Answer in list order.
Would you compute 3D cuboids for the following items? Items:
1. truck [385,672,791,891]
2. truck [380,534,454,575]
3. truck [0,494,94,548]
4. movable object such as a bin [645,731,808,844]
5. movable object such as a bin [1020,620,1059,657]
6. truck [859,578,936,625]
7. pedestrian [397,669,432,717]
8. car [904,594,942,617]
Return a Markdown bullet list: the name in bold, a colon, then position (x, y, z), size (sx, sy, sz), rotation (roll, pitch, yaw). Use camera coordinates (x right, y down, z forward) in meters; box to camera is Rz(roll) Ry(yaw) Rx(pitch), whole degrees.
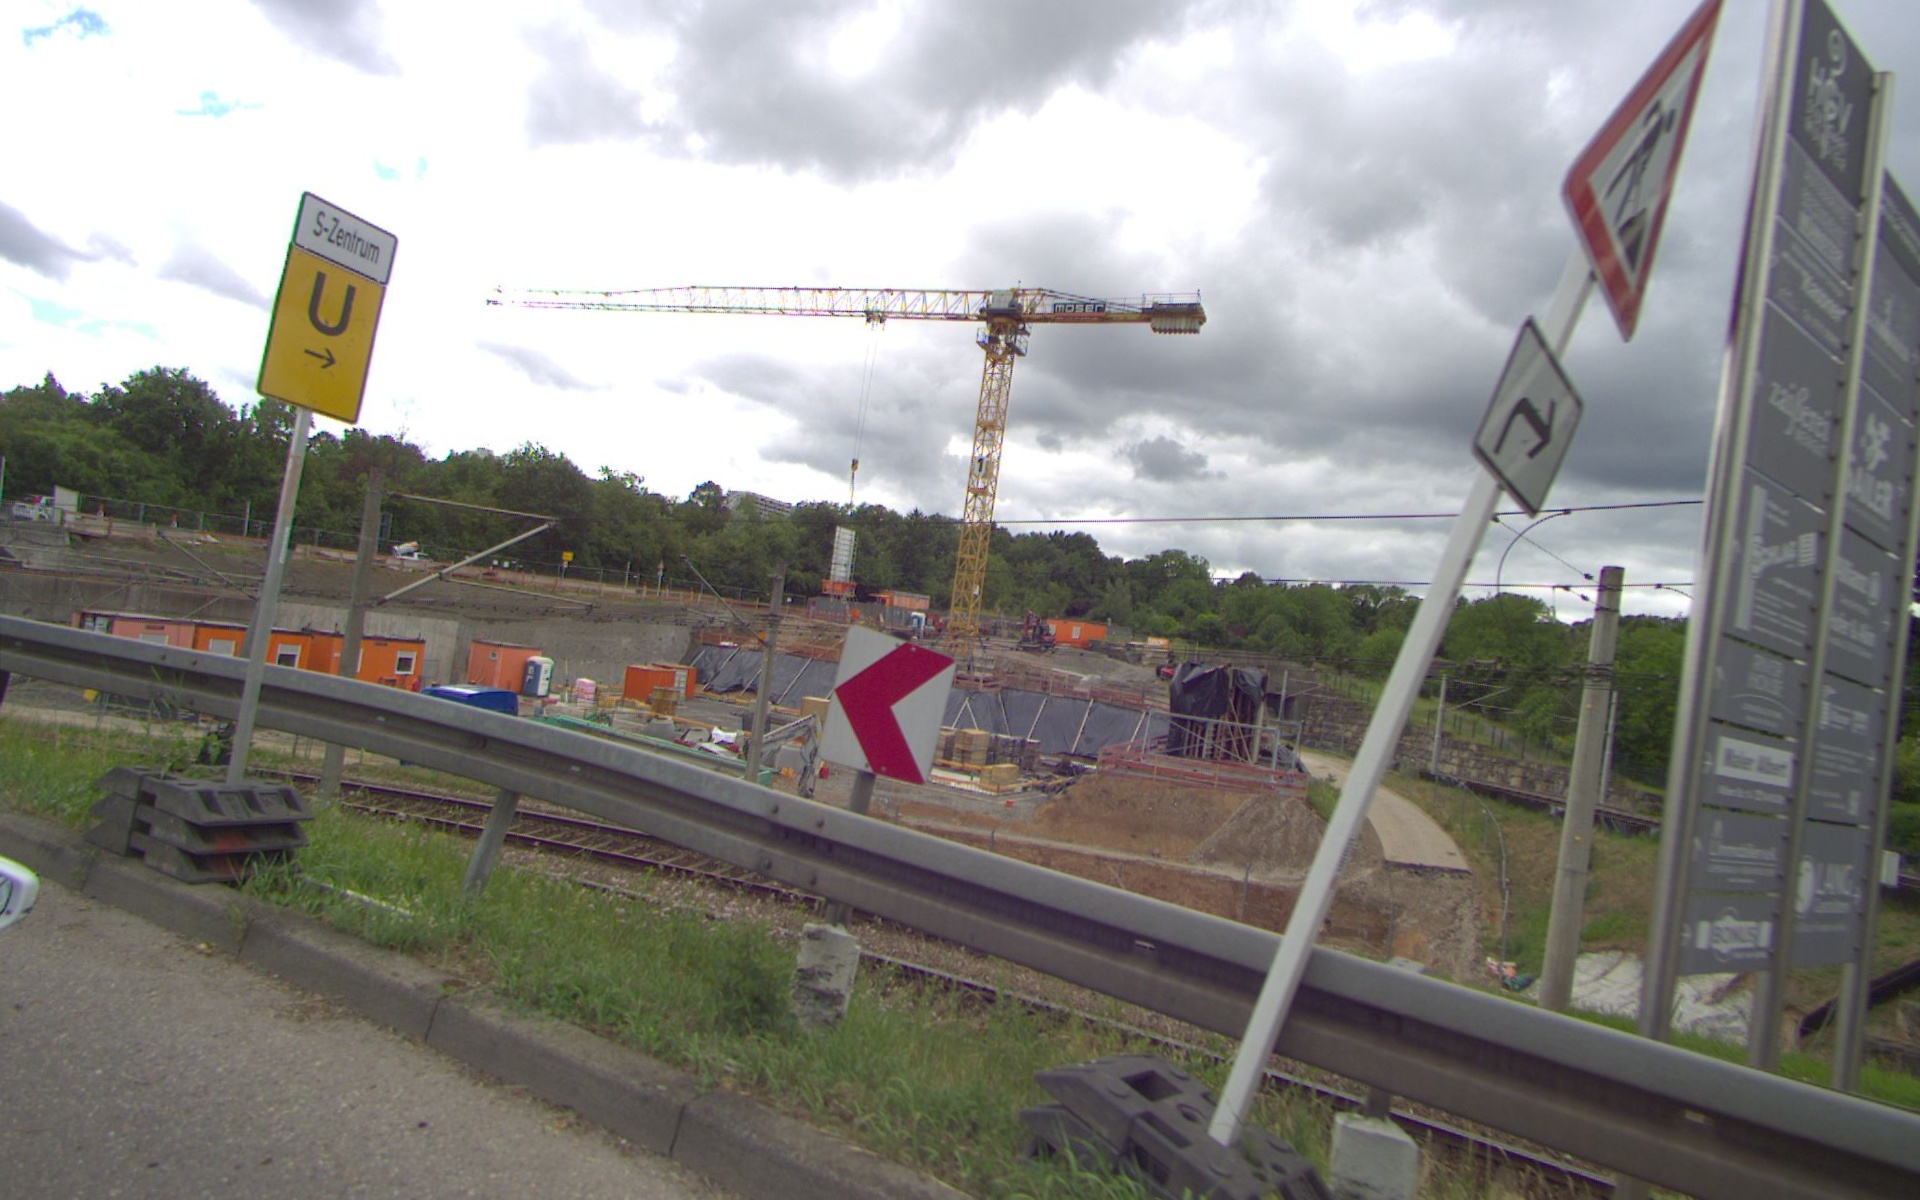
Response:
- **truck**: position (-11.051, 5.076, 29.778), size (11.401, 3.937, 2.850), rotation (9, -1, 16)
- **truck**: position (-38.799, -3.243, 71.959), size (1.966, 2.034, 4.002), rotation (6, -5, 30)
- **truck**: position (-47.393, -4.054, 52.135), size (1.707, 2.034, 3.235), rotation (8, -4, 7)
- **movable object such as a bin**: position (-7.982, 6.286, 34.430), size (4.217, 2.781, 3.043), rotation (9, -1, 33)
- **movable object such as a bin**: position (7.423, 3.593, 93.627), size (2.758, 3.112, 1.836), rotation (5, -2, 37)
- **truck**: position (-7.308, 0.267, 119.182), size (3.073, 4.269, 9.769), rotation (7, -2, 37)
- **pedestrian**: position (-24.652, 4.206, 45.474), size (0.690, 2.033, 0.805), rotation (6, -5, 17)
- **car**: position (-4.136, 0.651, 113.621), size (1.972, 2.036, 3.987), rotation (5, -3, 39)
